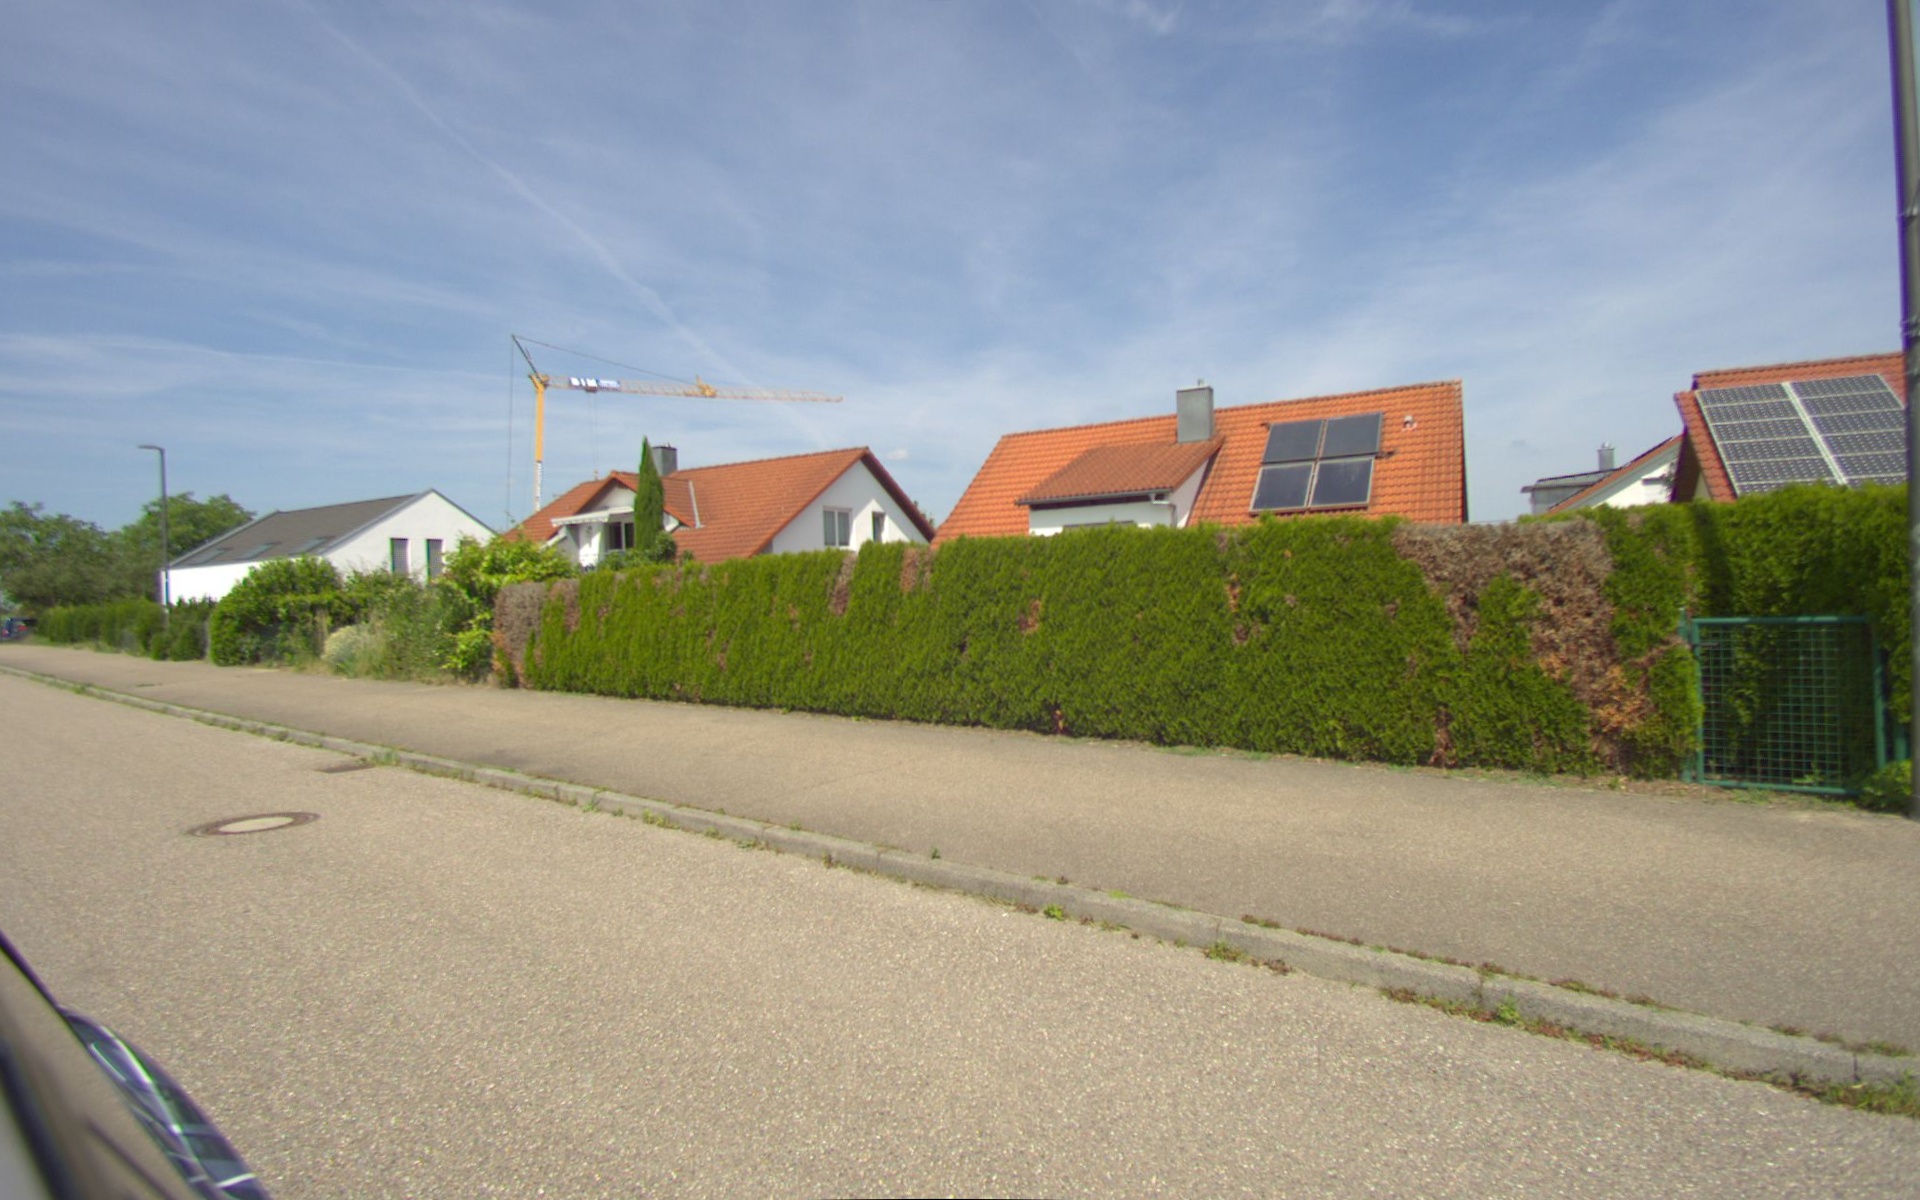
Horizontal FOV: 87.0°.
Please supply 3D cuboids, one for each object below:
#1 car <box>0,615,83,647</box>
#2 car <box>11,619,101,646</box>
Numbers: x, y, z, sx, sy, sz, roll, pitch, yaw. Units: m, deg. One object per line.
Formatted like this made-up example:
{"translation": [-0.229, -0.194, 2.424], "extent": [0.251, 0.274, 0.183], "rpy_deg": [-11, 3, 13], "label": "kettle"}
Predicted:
{"translation": [-59.118, 1.970, 65.166], "extent": [3.832, 1.826, 1.801], "rpy_deg": [-3, 1, -45], "label": "car"}
{"translation": [-52.938, 1.883, 59.323], "extent": [3.832, 1.331, 1.801], "rpy_deg": [-2, 0, -45], "label": "car"}
